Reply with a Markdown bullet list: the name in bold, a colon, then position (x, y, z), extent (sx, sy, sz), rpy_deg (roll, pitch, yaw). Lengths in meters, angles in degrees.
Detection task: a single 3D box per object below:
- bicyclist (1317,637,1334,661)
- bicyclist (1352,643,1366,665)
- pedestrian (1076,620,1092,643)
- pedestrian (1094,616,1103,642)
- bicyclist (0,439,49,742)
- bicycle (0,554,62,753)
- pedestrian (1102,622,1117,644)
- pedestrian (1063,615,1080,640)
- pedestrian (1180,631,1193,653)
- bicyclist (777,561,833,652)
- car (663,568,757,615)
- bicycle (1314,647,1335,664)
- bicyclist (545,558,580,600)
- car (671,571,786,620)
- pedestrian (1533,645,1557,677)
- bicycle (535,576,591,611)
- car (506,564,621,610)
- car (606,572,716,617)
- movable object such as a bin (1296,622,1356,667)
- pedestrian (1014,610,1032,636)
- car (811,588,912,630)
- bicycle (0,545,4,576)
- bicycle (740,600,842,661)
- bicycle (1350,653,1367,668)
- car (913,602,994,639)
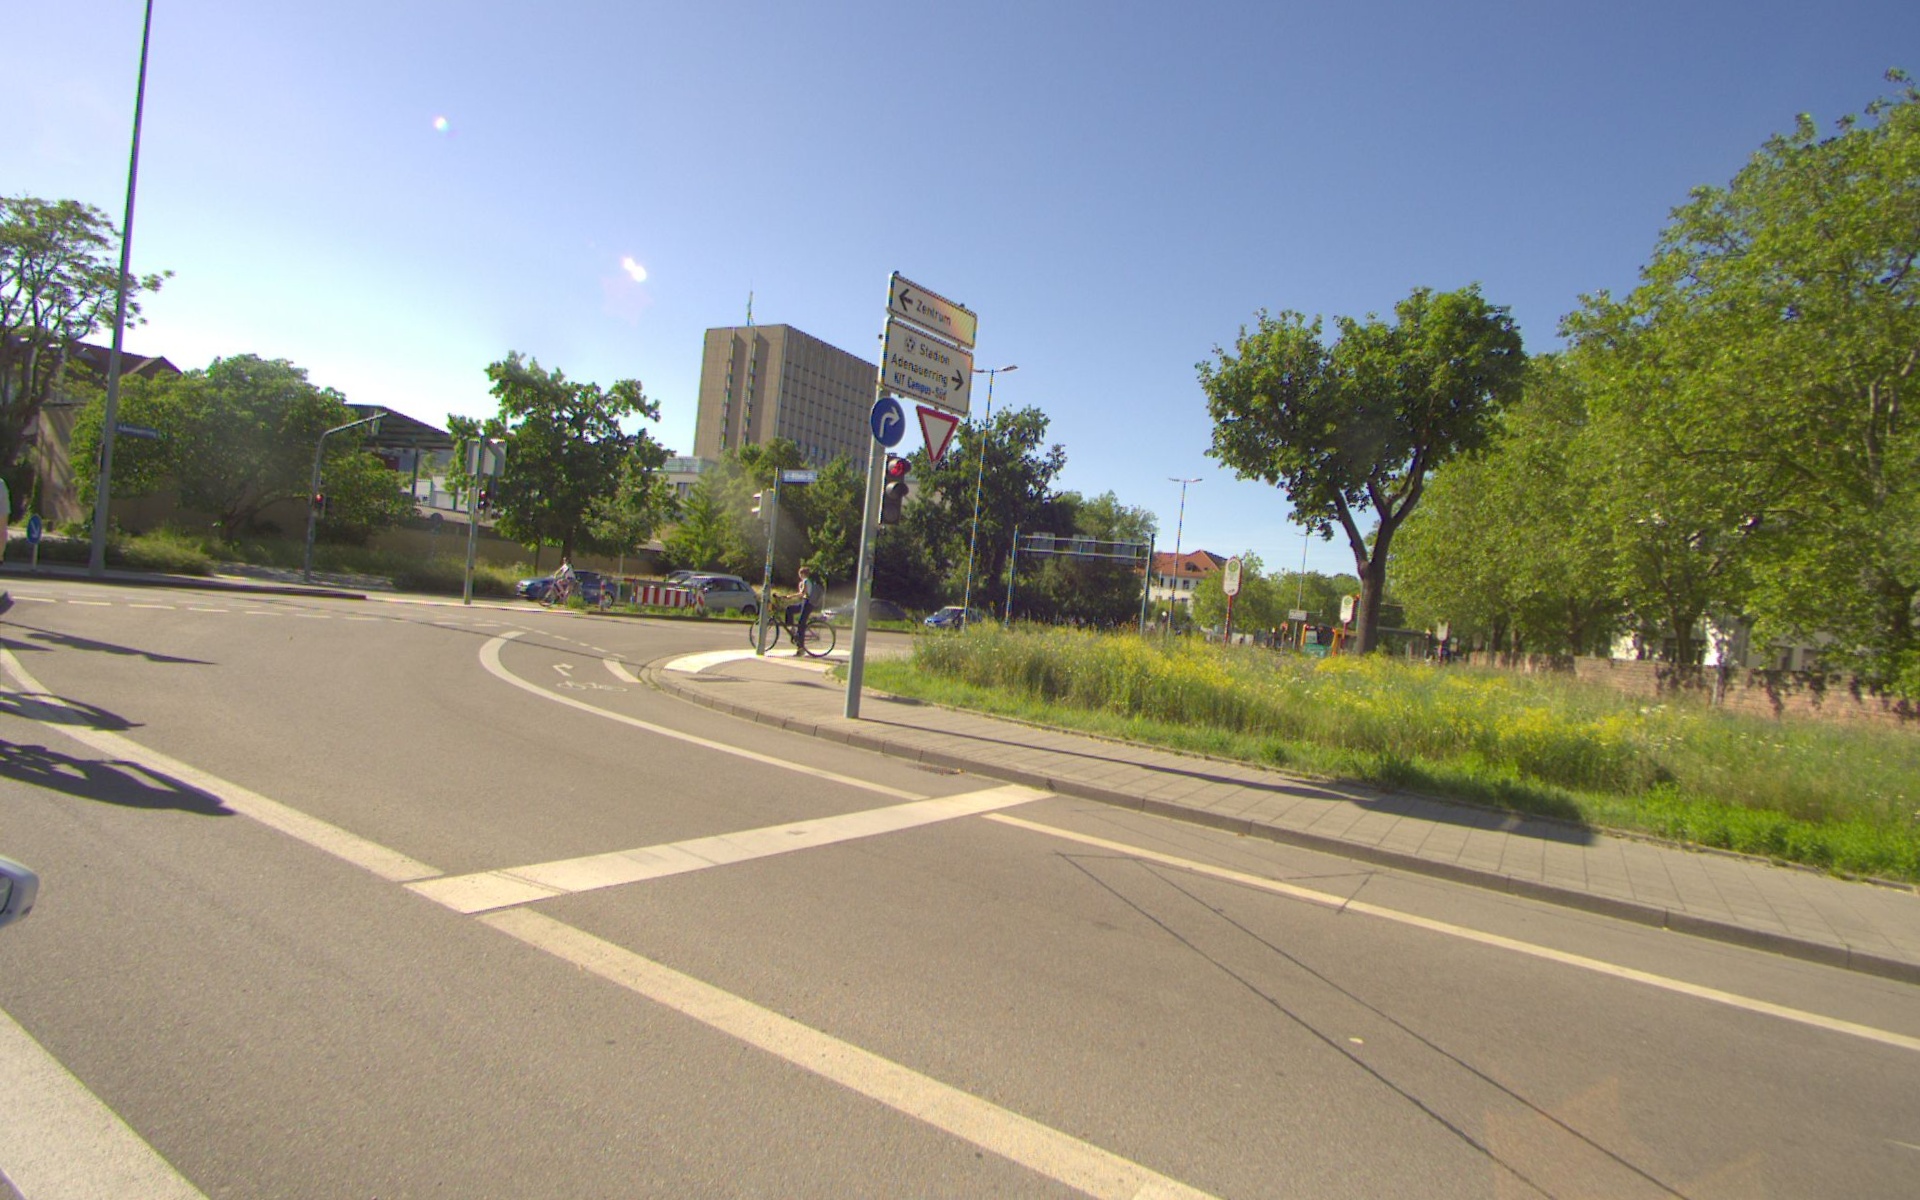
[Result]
- **bicyclist**: position (24.265, 3.251, 66.844), extent (0.632, 1.533, 1.049), rpy_deg (7, 2, 39)
- **bicyclist**: position (29.138, 3.959, 73.432), extent (0.509, 1.548, 1.067), rpy_deg (7, 2, 39)
- **pedestrian**: position (11.460, 2.922, 92.960), extent (0.752, 2.039, 1.267), rpy_deg (7, 1, 36)
- **pedestrian**: position (13.237, 2.741, 96.212), extent (0.401, 2.451, 0.467), rpy_deg (6, -1, 34)
- **bicyclist**: position (-6.337, -0.116, 6.169), extent (1.123, 1.813, 0.684), rpy_deg (7, 0, 32)
- **bicycle**: position (-6.342, 0.232, 6.143), extent (1.890, 1.102, 0.690), rpy_deg (6, -1, 32)
- **pedestrian**: position (14.226, 3.145, 95.820), extent (0.752, 2.039, 1.267), rpy_deg (7, 1, 36)
- **pedestrian**: position (9.739, 2.381, 88.090), extent (0.752, 2.039, 1.267), rpy_deg (7, 1, 36)
- **pedestrian**: position (25.850, 4.798, 114.836), extent (0.935, 2.318, 1.092), rpy_deg (7, -1, 24)
- **bicyclist**: position (-3.039, 0.123, 19.703), extent (0.898, 1.667, 0.630), rpy_deg (6, 1, -9)
- **car**: position (-11.846, -0.368, 47.793), extent (1.767, 1.771, 3.986), rpy_deg (7, 0, 37)
- **bicycle**: position (24.231, 3.700, 66.865), extent (0.640, 0.986, 1.895), rpy_deg (7, 1, 39)
- **bicyclist**: position (-13.937, -0.724, 35.279), extent (0.602, 1.360, 0.874), rpy_deg (7, 1, 37)
- **car**: position (-8.742, -0.132, 38.286), extent (1.767, 1.415, 3.986), rpy_deg (7, 0, 37)
- **pedestrian**: position (27.984, 2.920, 48.120), extent (0.712, 1.460, 0.523), rpy_deg (7, -1, 2)
- **bicycle**: position (-13.939, -0.229, 35.356), extent (0.602, 1.046, 1.681), rpy_deg (7, 0, 37)
- **car**: position (-16.213, -0.527, 41.315), extent (1.767, 1.415, 3.986), rpy_deg (7, 0, 37)
- **car**: position (-12.302, -0.202, 41.568), extent (1.767, 1.415, 3.986), rpy_deg (7, 0, 37)
- **movable object such as a bin**: position (28.096, 3.498, 76.938), extent (2.954, 2.898, 9.178), rpy_deg (6, 0, 27)
- **pedestrian**: position (5.327, 1.917, 84.661), extent (0.752, 2.039, 1.267), rpy_deg (7, 1, 36)
- **car**: position (-4.312, 0.434, 44.627), extent (1.767, 1.415, 4.557), rpy_deg (7, 0, 37)
- **bicycle**: position (-8.232, 0.019, 7.769), extent (1.890, 1.102, 0.690), rpy_deg (6, -1, 32)
- **bicycle**: position (-3.292, 0.590, 19.675), extent (1.856, 0.970, 0.635), rpy_deg (7, 1, -10)
- **bicycle**: position (29.103, 4.401, 73.442), extent (0.514, 1.000, 1.965), rpy_deg (7, 1, 39)
- **car**: position (-0.298, 1.049, 50.455), extent (1.916, 1.415, 3.986), rpy_deg (6, 0, 37)
